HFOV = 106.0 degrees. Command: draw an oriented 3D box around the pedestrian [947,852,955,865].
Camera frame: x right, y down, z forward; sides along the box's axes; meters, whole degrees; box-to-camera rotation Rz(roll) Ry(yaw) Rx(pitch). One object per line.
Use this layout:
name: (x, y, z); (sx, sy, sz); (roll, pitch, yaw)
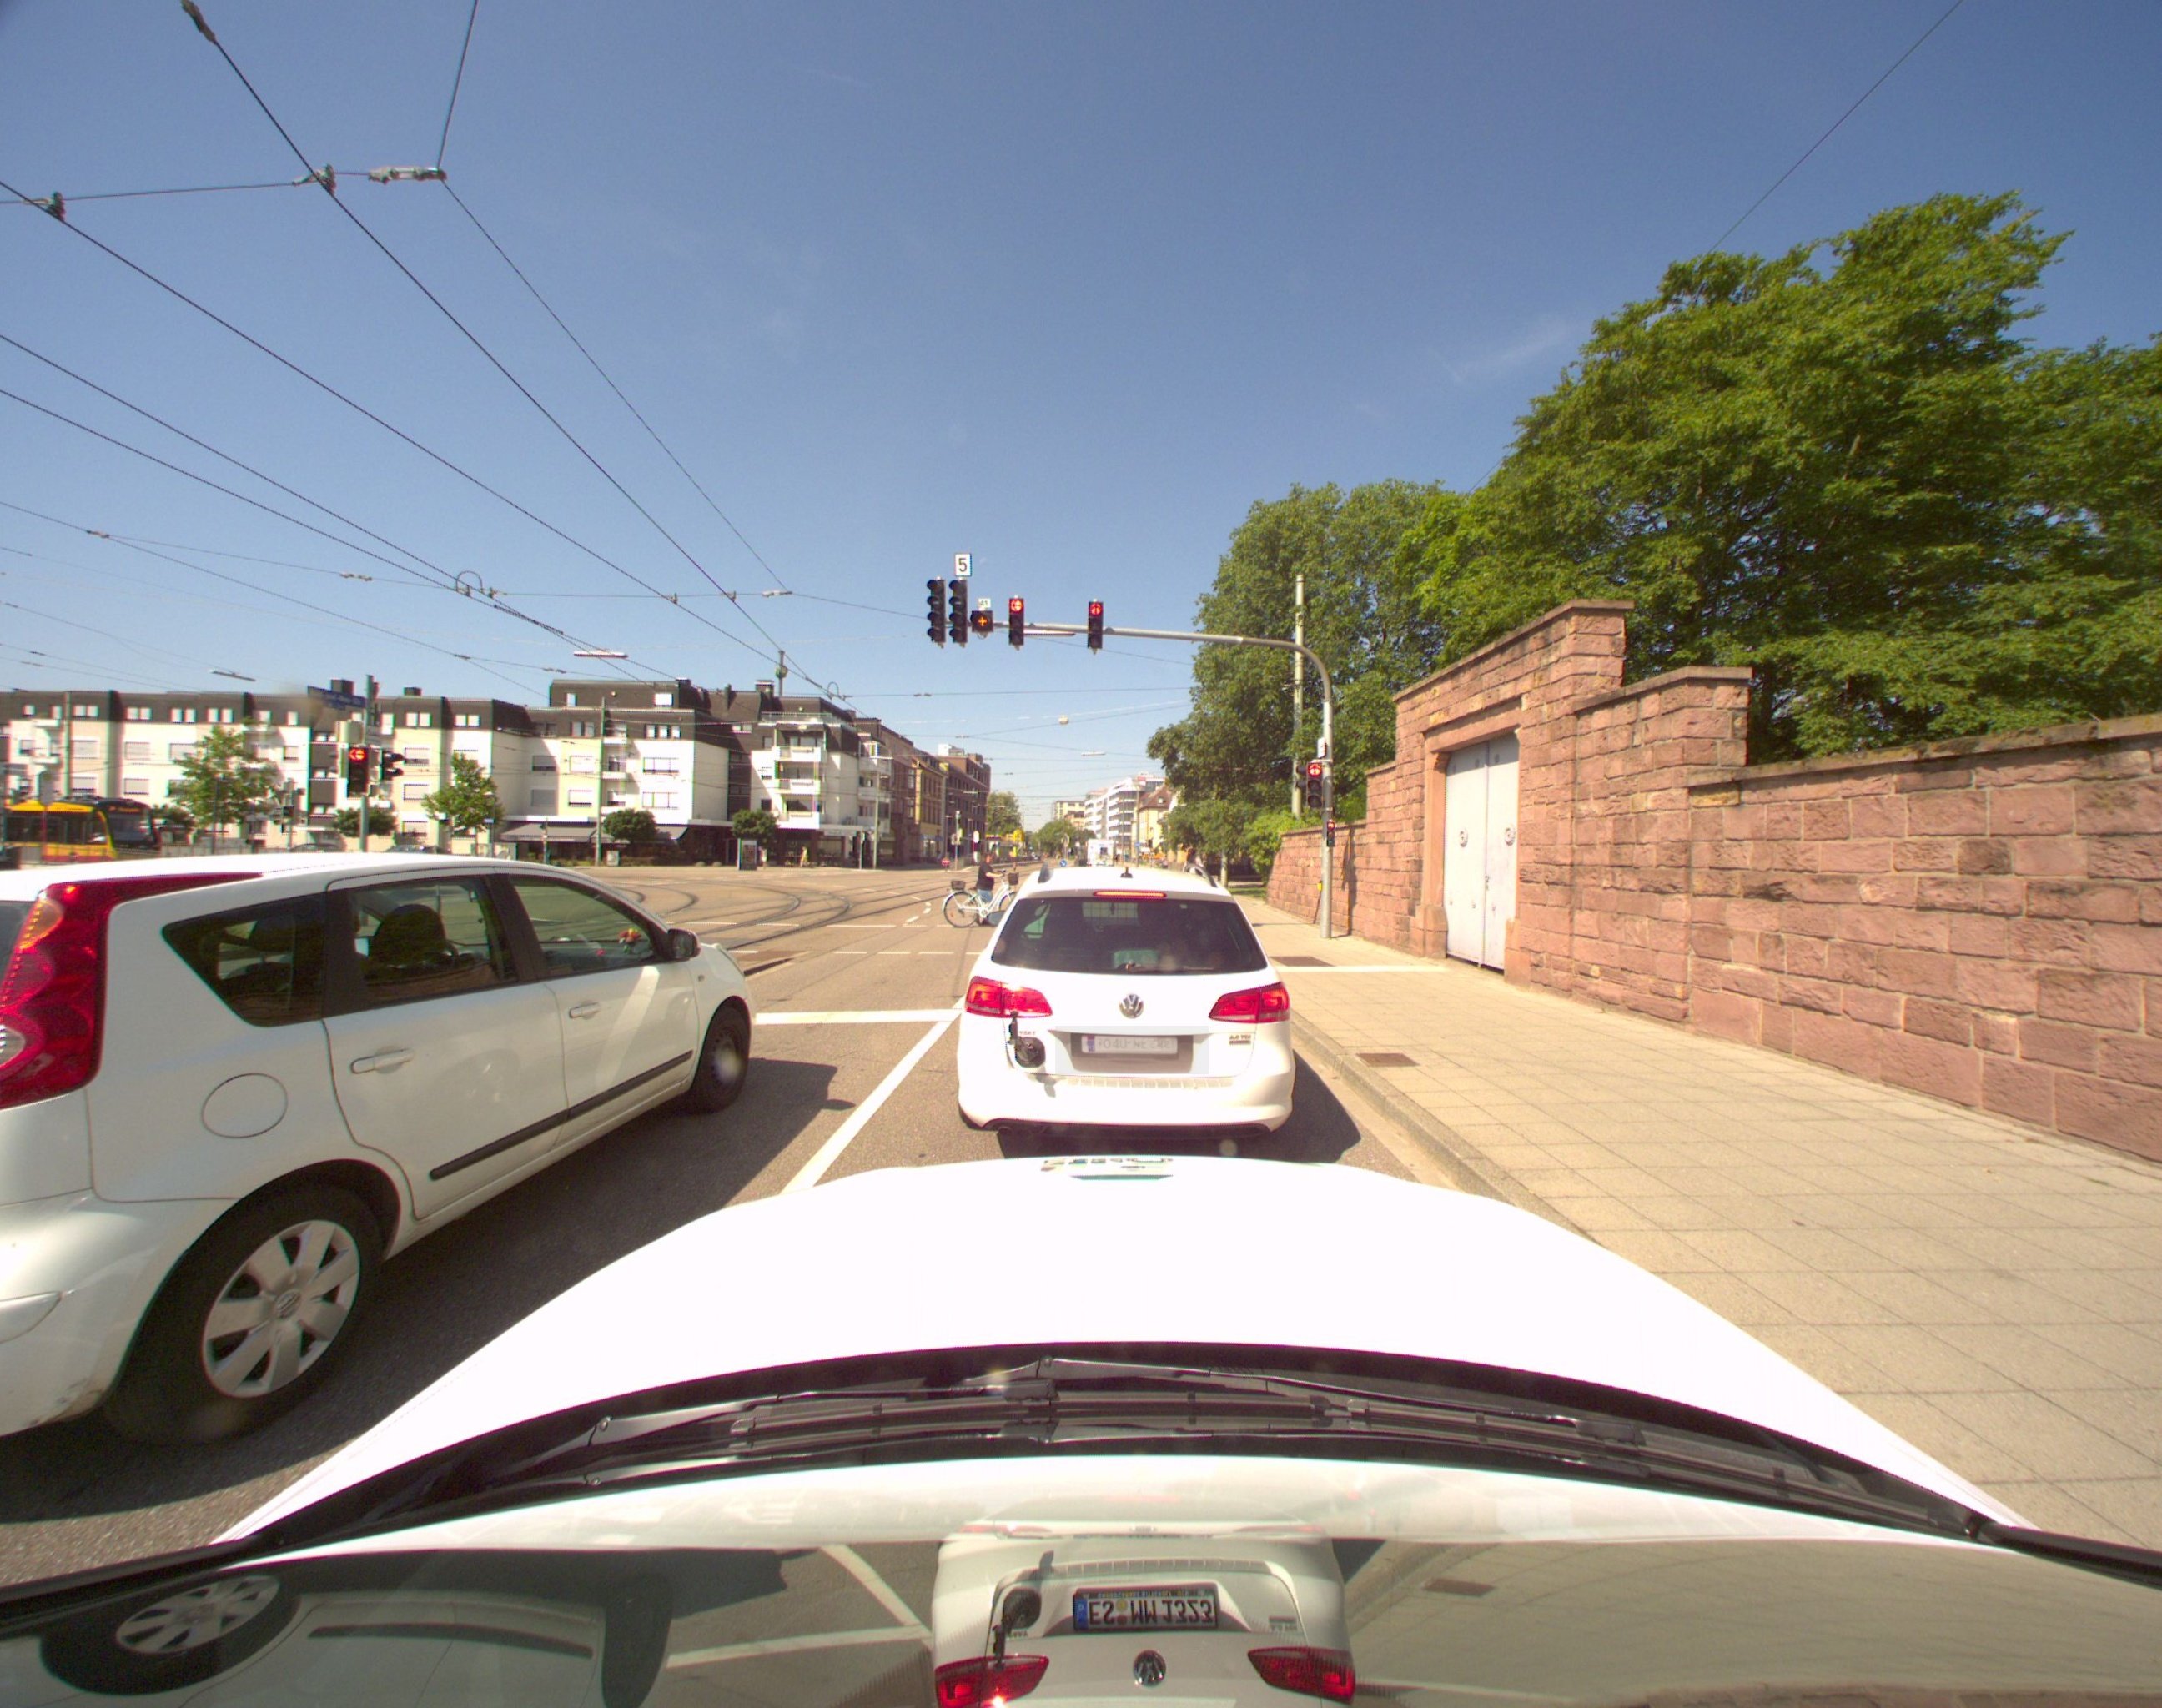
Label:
pedestrian: (-17.328, 0.603, 108.624); (0.860, 1.743, 0.973); (-1, -1, -4)

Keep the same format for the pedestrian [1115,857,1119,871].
pedestrian: (5.949, 1.692, 134.396); (0.687, 2.325, 1.233); (-1, -1, 3)

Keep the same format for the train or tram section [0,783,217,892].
train or tram section: (-54.718, -0.681, 41.518); (16.149, 5.150, 4.735); (-1, -1, 0)

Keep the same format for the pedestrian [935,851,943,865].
pedestrian: (-17.941, 0.504, 102.806); (0.860, 1.743, 0.973); (-1, -1, -4)

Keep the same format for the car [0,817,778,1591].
car: (-2.908, 0.695, 3.554); (1.636, 1.566, 3.805); (-1, 1, 1)

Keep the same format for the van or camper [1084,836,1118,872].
van or camper: (1.850, 0.080, 73.271); (2.554, 3.093, 5.711); (-1, -1, 5)

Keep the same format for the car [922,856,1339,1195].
car: (0.272, 0.748, 5.554); (1.801, 1.448, 4.001); (1, 0, 1)

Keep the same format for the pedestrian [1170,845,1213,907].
pedestrian: (3.073, 0.608, 22.578); (0.944, 1.651, 0.980); (-1, -1, 22)

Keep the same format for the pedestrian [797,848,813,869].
pedestrian: (-22.838, 0.357, 67.350); (0.853, 1.743, 0.981); (-2, -2, 38)

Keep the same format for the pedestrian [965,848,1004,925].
pedestrian: (-2.024, 0.661, 16.975); (0.746, 1.571, 0.672); (-1, 0, -12)

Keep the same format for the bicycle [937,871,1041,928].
bicycle: (-1.855, 0.902, 16.381); (2.021, 1.090, 0.707); (1, 0, -13)

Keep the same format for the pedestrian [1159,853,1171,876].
pedestrian: (6.602, 0.832, 63.754); (0.856, 1.743, 0.977); (-1, -1, 8)

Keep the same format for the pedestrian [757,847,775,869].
pedestrian: (-24.517, 0.311, 63.374); (0.853, 1.743, 0.981); (-2, -2, 32)
